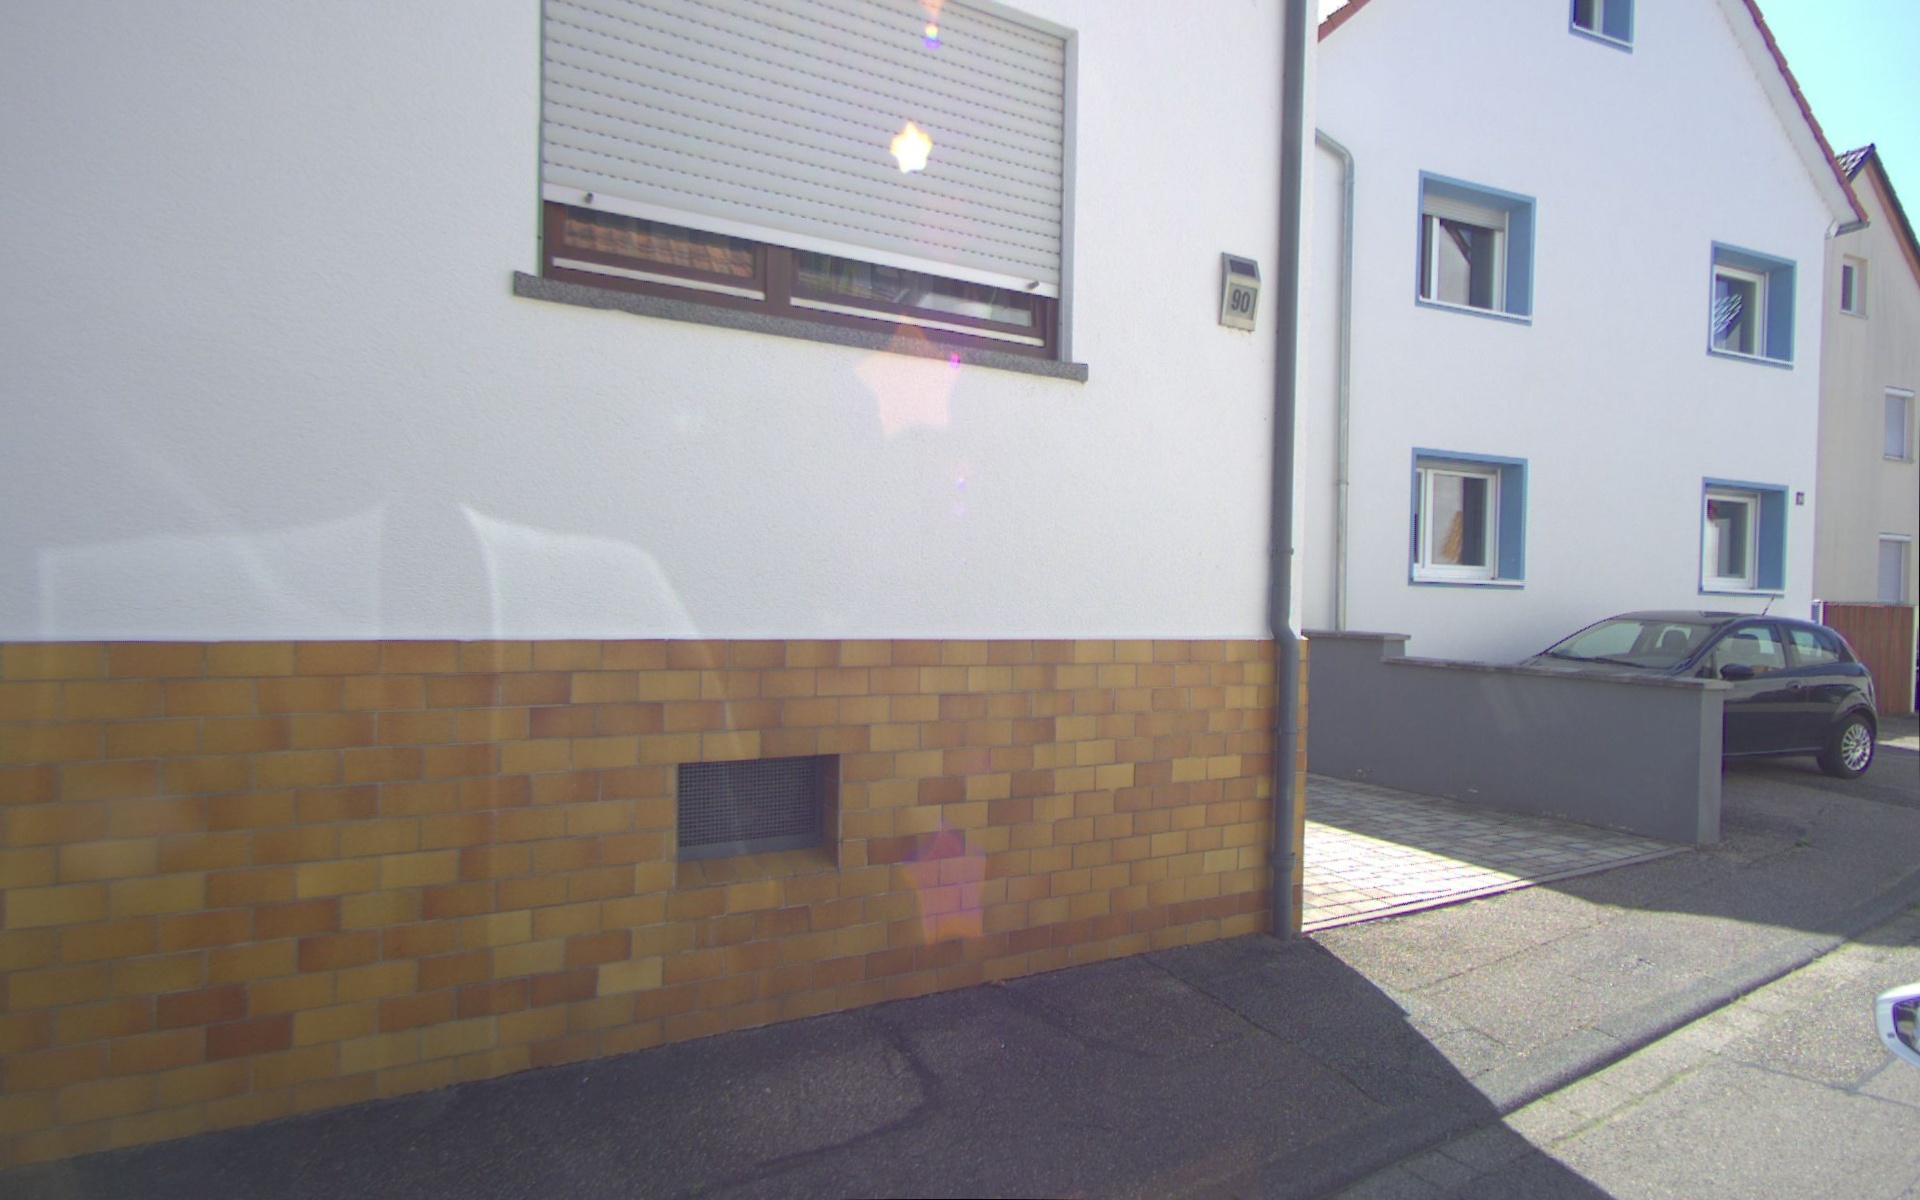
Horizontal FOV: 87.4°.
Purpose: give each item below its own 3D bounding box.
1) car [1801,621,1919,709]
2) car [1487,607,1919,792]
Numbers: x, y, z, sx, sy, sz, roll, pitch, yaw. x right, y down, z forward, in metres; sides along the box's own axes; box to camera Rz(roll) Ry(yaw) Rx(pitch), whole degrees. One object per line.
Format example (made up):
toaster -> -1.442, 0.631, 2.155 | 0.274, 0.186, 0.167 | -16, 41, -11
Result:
car -> 17.490, 1.157, 18.030 | 4.404, 1.367, 1.766 | 2, 1, -22
car -> 7.161, 0.858, 9.688 | 3.731, 1.474, 1.634 | 1, 1, -22
